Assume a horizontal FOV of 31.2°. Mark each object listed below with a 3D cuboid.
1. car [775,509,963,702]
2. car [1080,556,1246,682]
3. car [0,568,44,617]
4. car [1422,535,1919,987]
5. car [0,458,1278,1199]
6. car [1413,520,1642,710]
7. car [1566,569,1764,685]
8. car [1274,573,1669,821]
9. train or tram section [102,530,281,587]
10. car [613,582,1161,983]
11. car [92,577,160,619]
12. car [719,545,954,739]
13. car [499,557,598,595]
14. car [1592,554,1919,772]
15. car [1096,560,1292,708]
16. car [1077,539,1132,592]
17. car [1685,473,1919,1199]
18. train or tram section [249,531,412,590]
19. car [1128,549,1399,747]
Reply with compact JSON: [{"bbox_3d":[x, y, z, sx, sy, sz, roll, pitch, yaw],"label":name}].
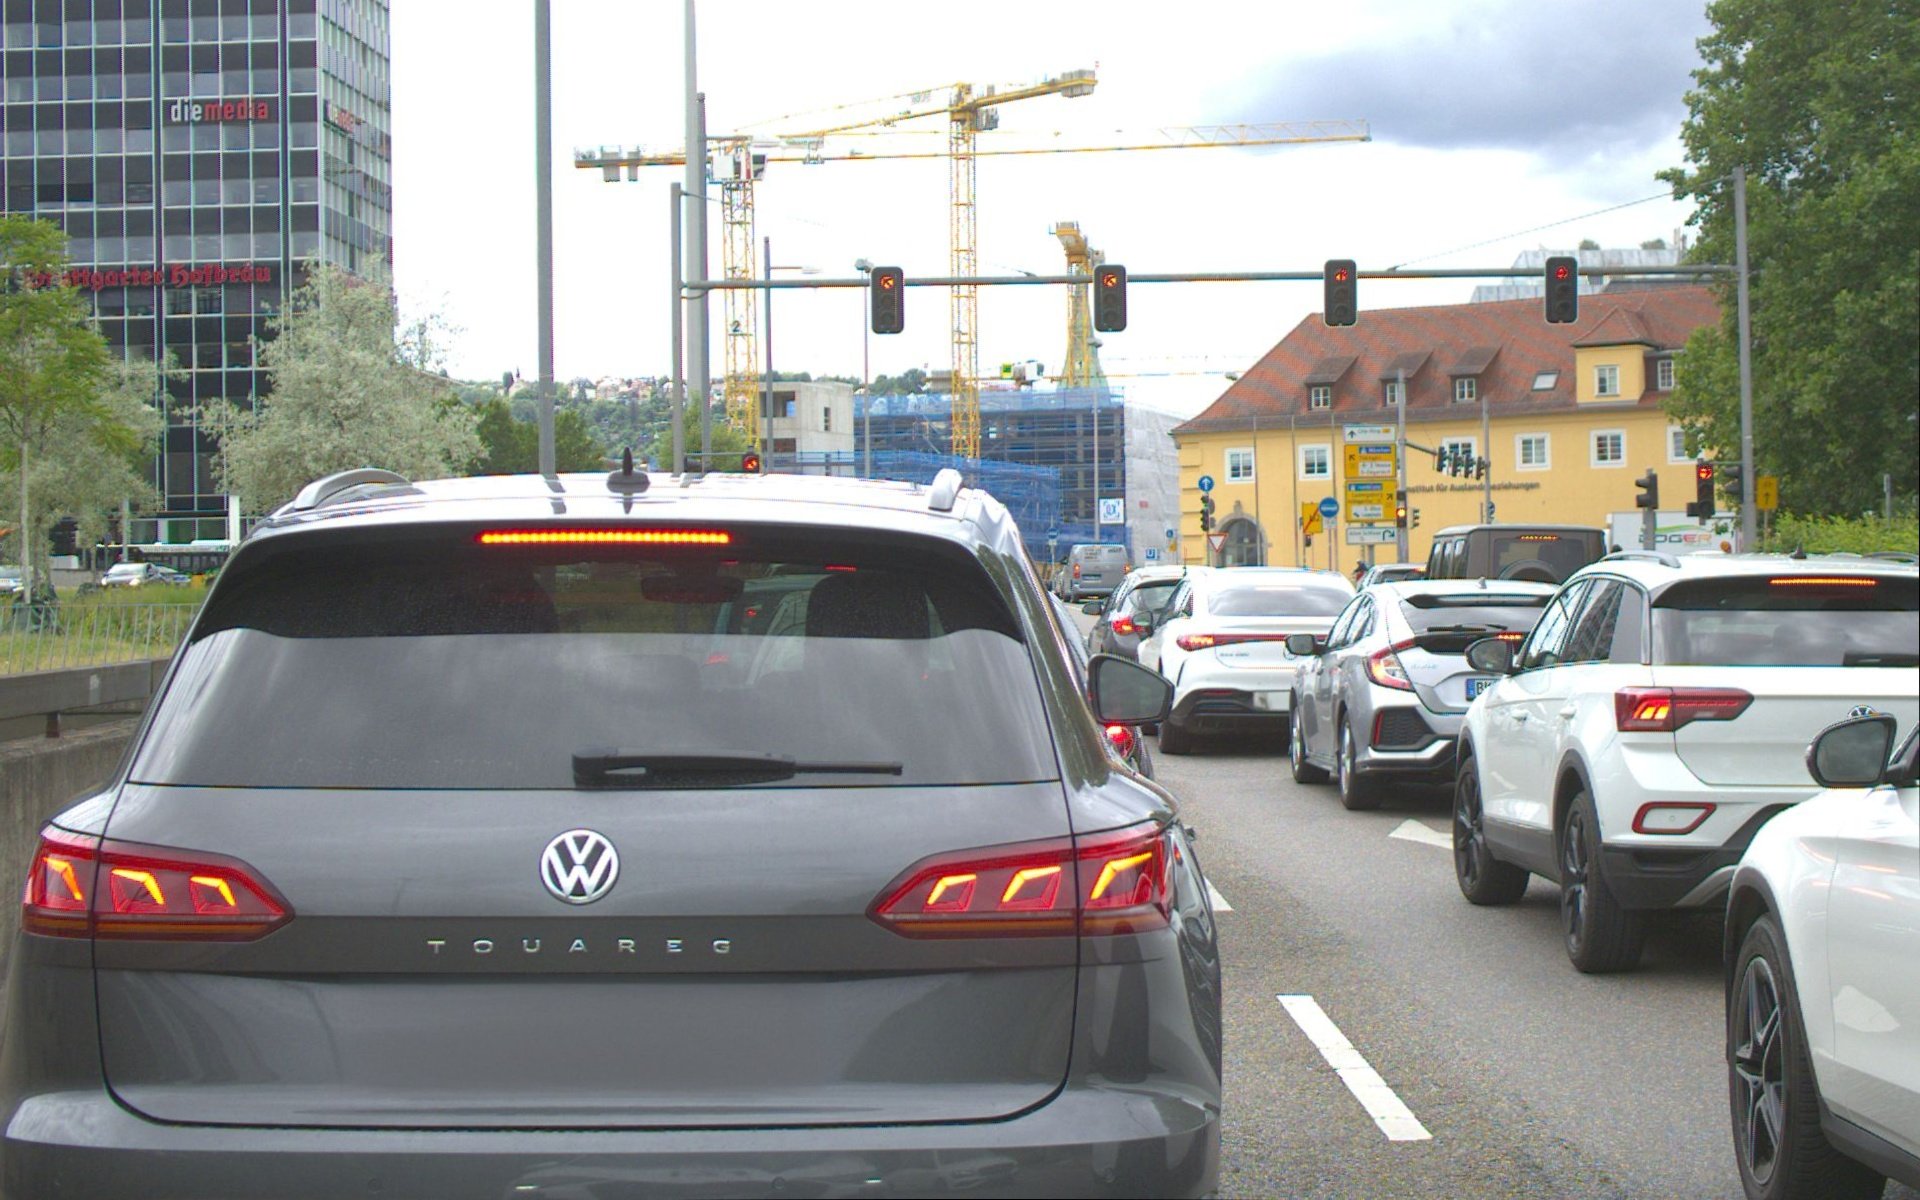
[{"bbox_3d":[-0.999,0.037,38.561,1.951,2.011,3.931,1,1,-1],"label":"car"},{"bbox_3d":[2.554,0.231,44.033,1.926,1.524,4.047,0,0,1],"label":"car"},{"bbox_3d":[-30.602,-0.242,109.932,1.732,1.489,3.595,1,-1,-2],"label":"car"},{"bbox_3d":[3.128,0.551,14.046,1.926,1.545,4.489,0,0,1],"label":"car"},{"bbox_3d":[-0.575,0.609,6.663,1.951,1.646,4.000,0,1,-1],"label":"car"},{"bbox_3d":[6.391,0.159,39.112,1.910,2.007,4.012,1,0,0],"label":"car"},{"bbox_3d":[9.341,0.345,45.782,1.757,1.442,3.634,1,0,-2],"label":"car"},{"bbox_3d":[3.172,0.558,22.200,1.926,1.427,4.489,0,0,1],"label":"car"},{"bbox_3d":[-42.592,-2.315,190.315,10.411,2.999,2.592,1,-1,28],"label":"train or tram section"},{"bbox_3d":[-0.292,0.652,14.400,1.951,1.379,3.931,1,1,-1],"label":"car"},{"bbox_3d":[-30.970,-0.071,127.735,1.732,1.489,3.595,1,-1,-2],"label":"car"},{"bbox_3d":[-1.071,0.333,31.028,1.951,1.594,3.931,1,1,-1],"label":"car"},{"bbox_3d":[-17.979,-1.043,150.118,4.222,1.598,1.749,1,0,36],"label":"car"},{"bbox_3d":[6.641,0.446,28.129,1.993,1.634,4.305,0,1,-2],"label":"car"},{"bbox_3d":[2.510,0.352,37.746,1.926,1.524,4.047,0,0,1],"label":"car"},{"bbox_3d":[4.674,-1.102,111.442,1.619,1.622,4.000,1,-1,0],"label":"car"},{"bbox_3d":[2.718,0.590,6.194,1.926,1.648,4.490,0,1,1],"label":"car"},{"bbox_3d":[-34.057,-2.138,185.802,8.935,2.999,2.592,1,-1,28],"label":"train or tram section"},{"bbox_3d":[2.464,0.366,28.924,1.926,1.524,4.489,0,0,1],"label":"car"}]
